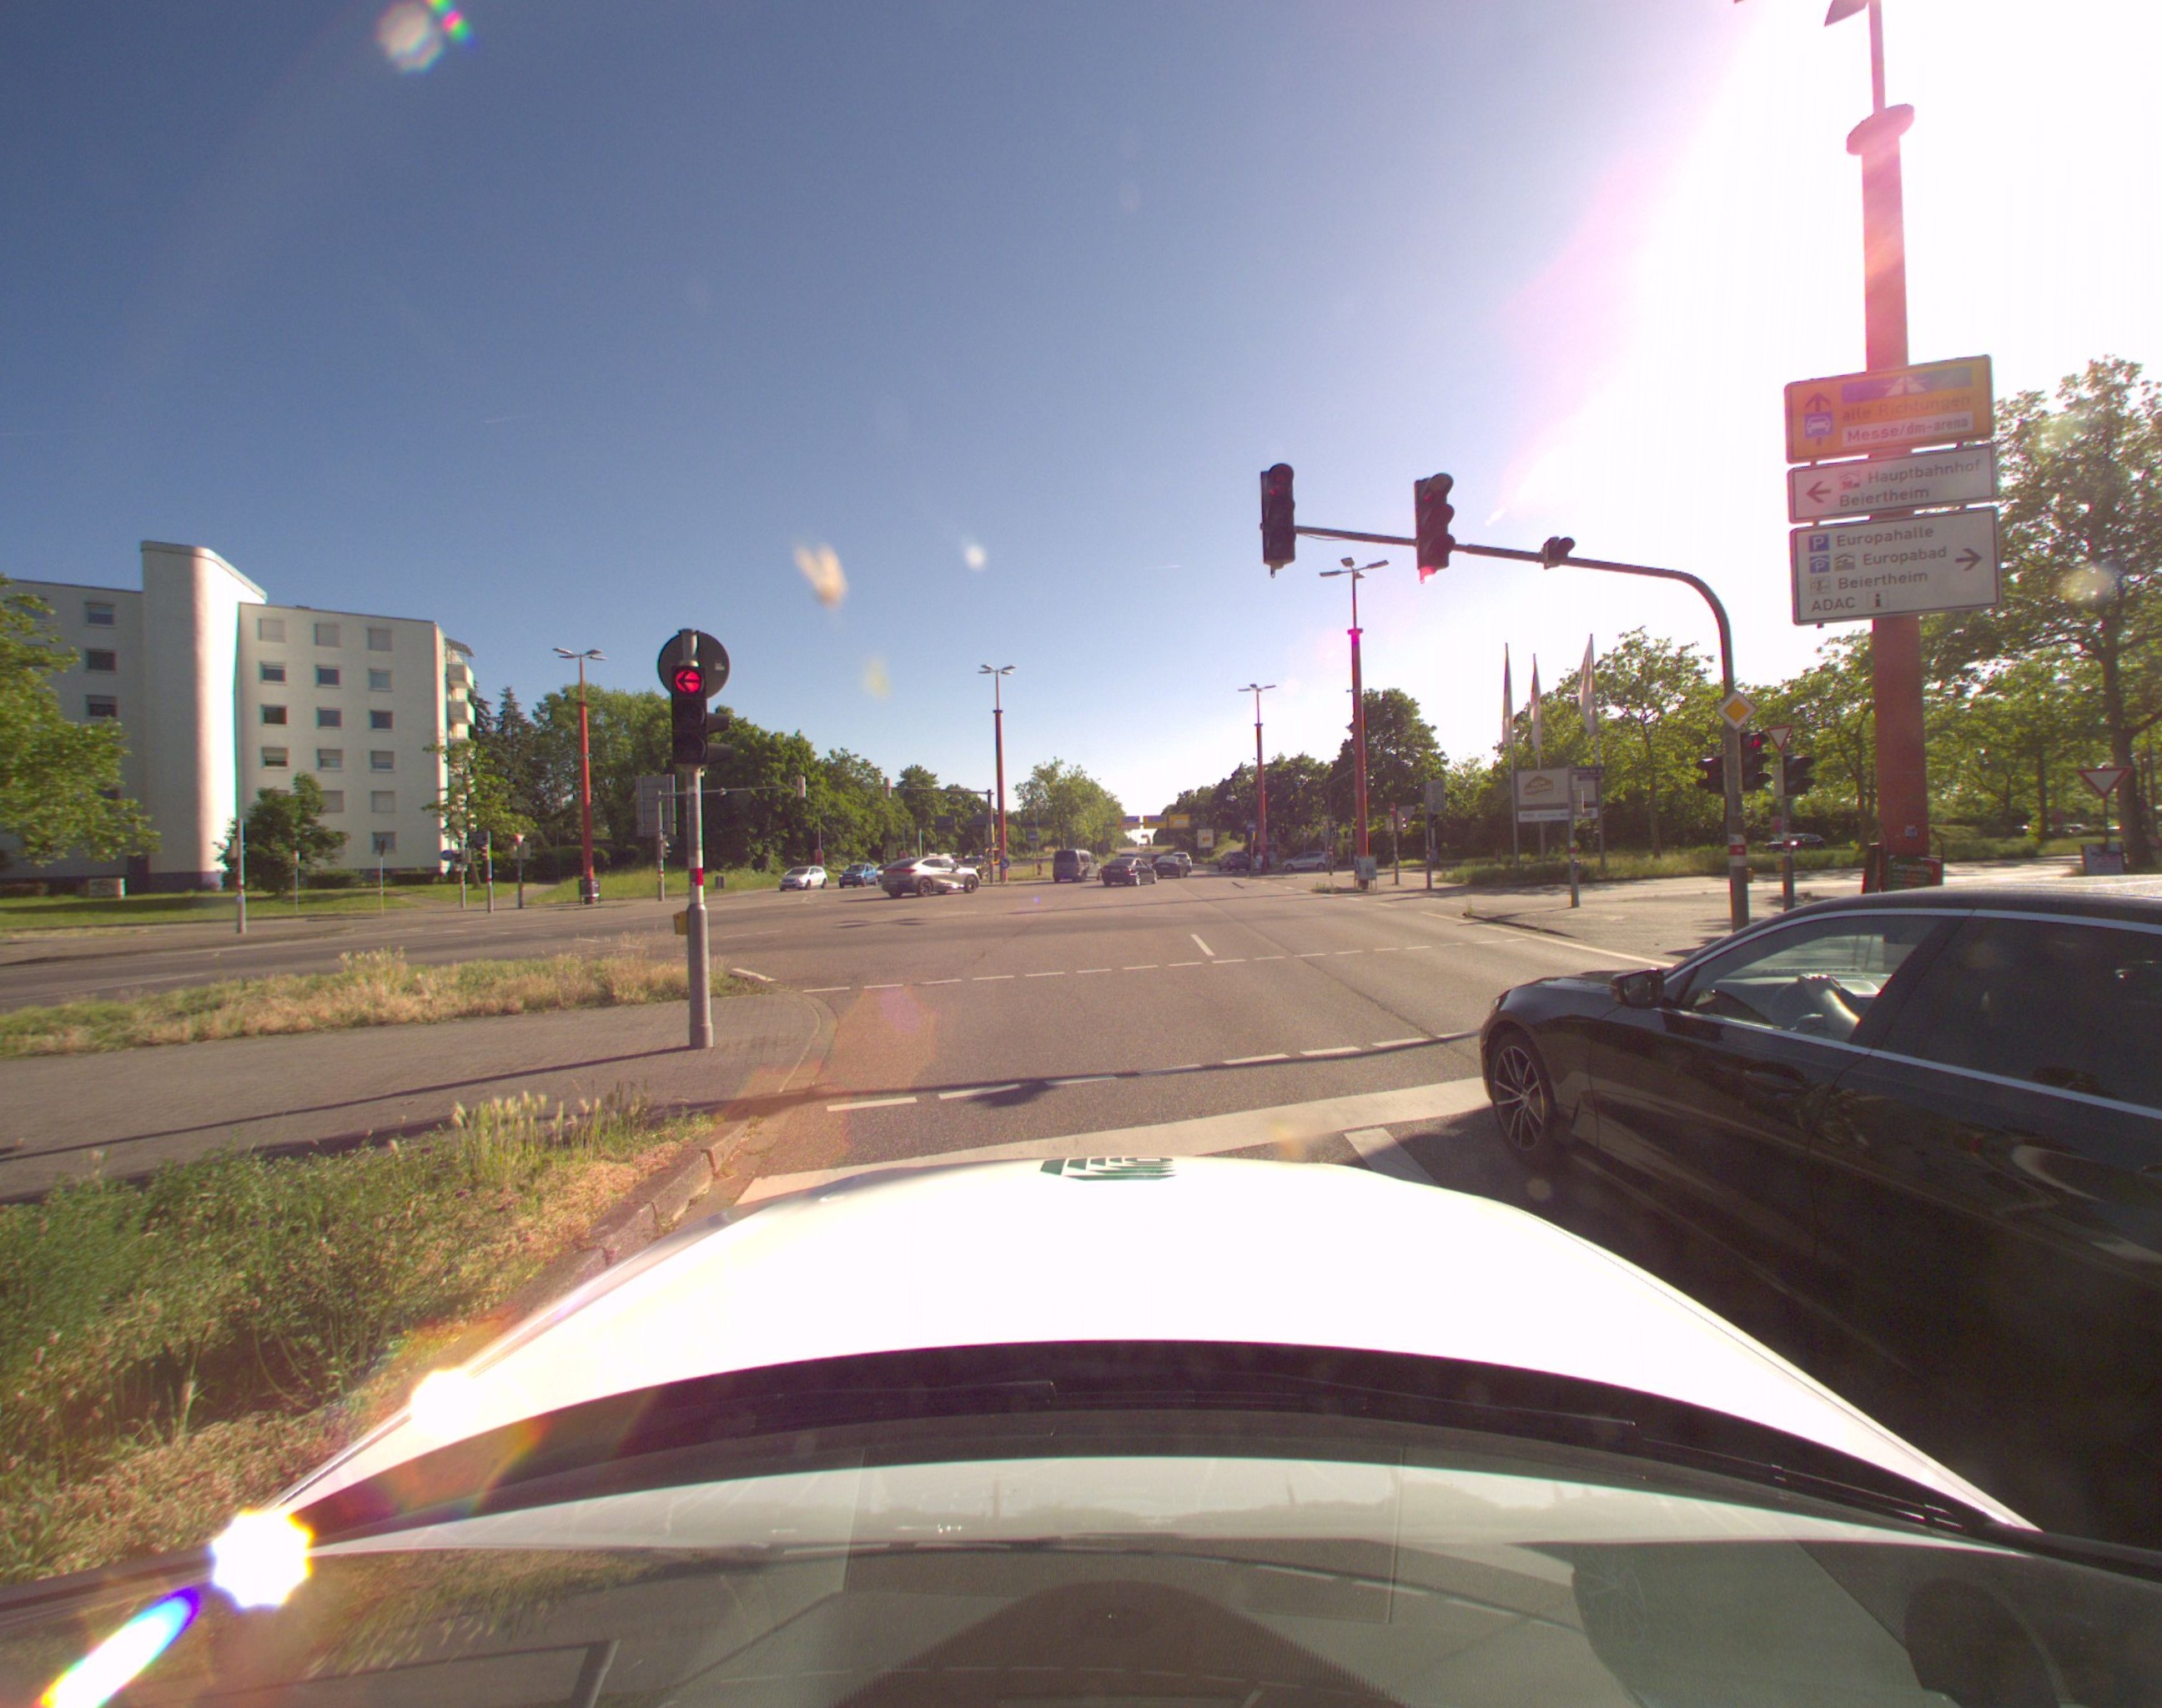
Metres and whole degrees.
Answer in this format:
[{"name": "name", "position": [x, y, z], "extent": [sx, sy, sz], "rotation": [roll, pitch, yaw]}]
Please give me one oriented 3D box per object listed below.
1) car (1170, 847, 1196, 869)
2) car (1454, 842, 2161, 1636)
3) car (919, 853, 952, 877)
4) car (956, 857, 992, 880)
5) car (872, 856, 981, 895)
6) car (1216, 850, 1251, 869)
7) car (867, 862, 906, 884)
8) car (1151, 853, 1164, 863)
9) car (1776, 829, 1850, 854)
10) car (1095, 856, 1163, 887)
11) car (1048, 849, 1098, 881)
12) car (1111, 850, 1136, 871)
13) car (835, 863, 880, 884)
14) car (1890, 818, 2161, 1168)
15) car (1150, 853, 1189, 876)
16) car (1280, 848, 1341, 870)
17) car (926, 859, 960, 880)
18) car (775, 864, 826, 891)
[{"name": "car", "position": [8.422, 0.322, 67.033], "extent": [1.811, 1.636, 4.265], "rotation": [-2, 0, 10]}, {"name": "car", "position": [2.926, 0.685, 2.379], "extent": [1.861, 1.398, 4.448], "rotation": [-2, 0, 4]}, {"name": "car", "position": [-12.730, 0.967, 71.543], "extent": [1.886, 2.026, 5.223], "rotation": [0, -1, 1]}, {"name": "car", "position": [-7.377, 0.971, 56.551], "extent": [1.812, 1.508, 4.002], "rotation": [-2, 0, 2]}, {"name": "car", "position": [-6.280, 0.848, 33.643], "extent": [1.812, 1.422, 4.465], "rotation": [-2, 0, 32]}, {"name": "car", "position": [12.819, 0.459, 68.795], "extent": [1.777, 1.485, 4.321], "rotation": [-2, 0, -5]}, {"name": "car", "position": [-13.670, 1.309, 57.422], "extent": [1.733, 1.411, 3.613], "rotation": [-2, 0, 1]}, {"name": "car", "position": [11.495, 0.580, 122.789], "extent": [1.674, 1.435, 4.066], "rotation": [-2, 0, 1]}, {"name": "car", "position": [50.700, -0.837, 56.398], "extent": [3.991, 1.578, 1.861], "rotation": [-2, 0, -13]}, {"name": "car", "position": [2.436, 0.855, 40.477], "extent": [1.743, 1.350, 4.389], "rotation": [-2, 0, 26]}, {"name": "car", "position": [-0.402, 0.603, 46.771], "extent": [1.833, 1.708, 4.322], "rotation": [-2, 0, 13]}, {"name": "car", "position": [3.477, 0.518, 66.169], "extent": [1.843, 1.545, 4.269], "rotation": [-2, 0, 5]}, {"name": "car", "position": [-14.085, 1.203, 51.425], "extent": [1.733, 1.243, 3.613], "rotation": [-2, 0, 1]}, {"name": "car", "position": [5.673, 0.599, 2.868], "extent": [1.732, 1.578, 4.032], "rotation": [-2, 0, 3]}, {"name": "car", "position": [5.668, 0.648, 51.664], "extent": [1.746, 1.350, 4.381], "rotation": [-2, 0, 16]}, {"name": "car", "position": [16.836, 0.356, 59.816], "extent": [3.943, 1.467, 1.695], "rotation": [-2, 0, 37]}, {"name": "car", "position": [-9.903, 1.079, 58.672], "extent": [1.733, 1.362, 3.613], "rotation": [-2, 0, 1]}, {"name": "car", "position": [-17.575, 1.447, 51.198], "extent": [1.754, 1.532, 3.936], "rotation": [-2, 0, 1]}]
